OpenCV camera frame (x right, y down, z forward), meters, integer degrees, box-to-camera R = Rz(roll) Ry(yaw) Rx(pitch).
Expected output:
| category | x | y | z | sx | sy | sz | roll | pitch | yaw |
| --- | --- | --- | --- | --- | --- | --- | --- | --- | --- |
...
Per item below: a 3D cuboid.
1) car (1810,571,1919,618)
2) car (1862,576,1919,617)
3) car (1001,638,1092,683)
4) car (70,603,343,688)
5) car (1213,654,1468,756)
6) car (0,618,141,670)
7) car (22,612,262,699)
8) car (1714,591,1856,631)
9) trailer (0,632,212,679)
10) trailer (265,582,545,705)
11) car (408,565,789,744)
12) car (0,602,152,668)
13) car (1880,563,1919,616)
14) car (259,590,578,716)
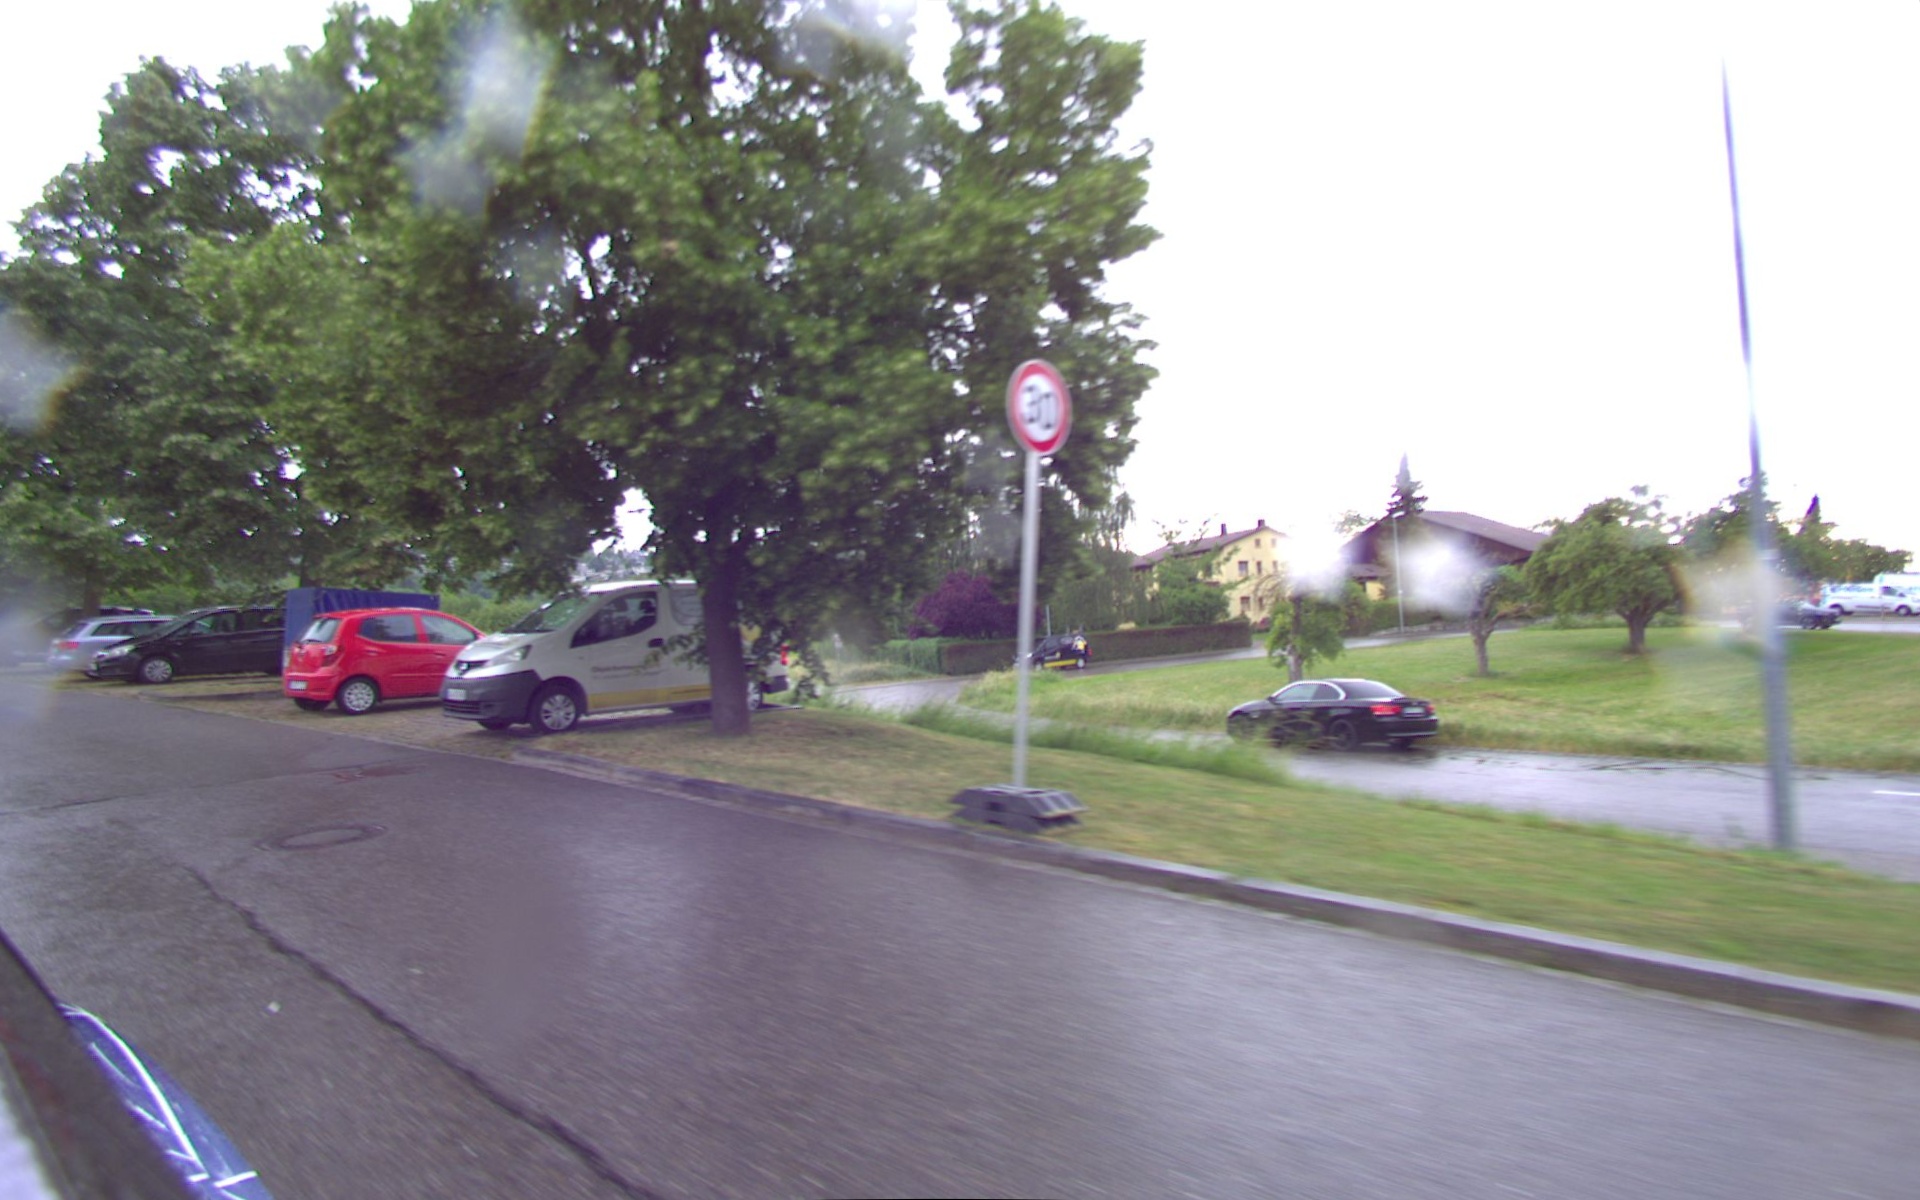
| category | x | y | z | sx | sy | sz | roll | pitch | yaw |
| --- | --- | --- | --- | --- | --- | --- | --- | --- | --- |
| car | 55.870 | -0.282 | 61.723 | 1.966 | 2.722 | 5.828 | -1 | -1 | -32 |
| car | 61.074 | -0.205 | 64.160 | 1.966 | 2.589 | 5.447 | 1 | -2 | -31 |
| car | 4.494 | 3.147 | 52.638 | 4.426 | 2.237 | 1.935 | 2 | -4 | -31 |
| car | -16.674 | 0.924 | 22.620 | 1.803 | 1.602 | 4.575 | -1 | 0 | 37 |
| car | 7.413 | 2.089 | 20.193 | 1.966 | 1.767 | 4.396 | 1 | -6 | -31 |
| car | -27.547 | 1.281 | 30.452 | 1.766 | 1.442 | 4.184 | -1 | -1 | 29 |
| car | -19.121 | 1.211 | 23.800 | 2.023 | 1.734 | 4.035 | -1 | 0 | 38 |
| car | 43.893 | 0.616 | 54.031 | 2.251 | 1.990 | 5.440 | 2 | -2 | -25 |
| trailer | -21.343 | 1.354 | 25.249 | 1.995 | 0.968 | 3.907 | -2 | -1 | 35 |
| trailer | -10.105 | 0.766 | 18.704 | 1.771 | 1.999 | 4.173 | -1 | -2 | 37 |
| car | -4.472 | 0.636 | 13.040 | 1.862 | 1.920 | 4.253 | -1 | -2 | 42 |
| car | -25.667 | 0.965 | 28.331 | 2.039 | 1.735 | 4.332 | -1 | -2 | 33 |
| car | 63.568 | -0.704 | 65.025 | 1.965 | 3.455 | 6.321 | 1 | -2 | -25 |
| car | -8.444 | 0.776 | 16.157 | 1.751 | 1.735 | 4.161 | -1 | -2 | 34 |
